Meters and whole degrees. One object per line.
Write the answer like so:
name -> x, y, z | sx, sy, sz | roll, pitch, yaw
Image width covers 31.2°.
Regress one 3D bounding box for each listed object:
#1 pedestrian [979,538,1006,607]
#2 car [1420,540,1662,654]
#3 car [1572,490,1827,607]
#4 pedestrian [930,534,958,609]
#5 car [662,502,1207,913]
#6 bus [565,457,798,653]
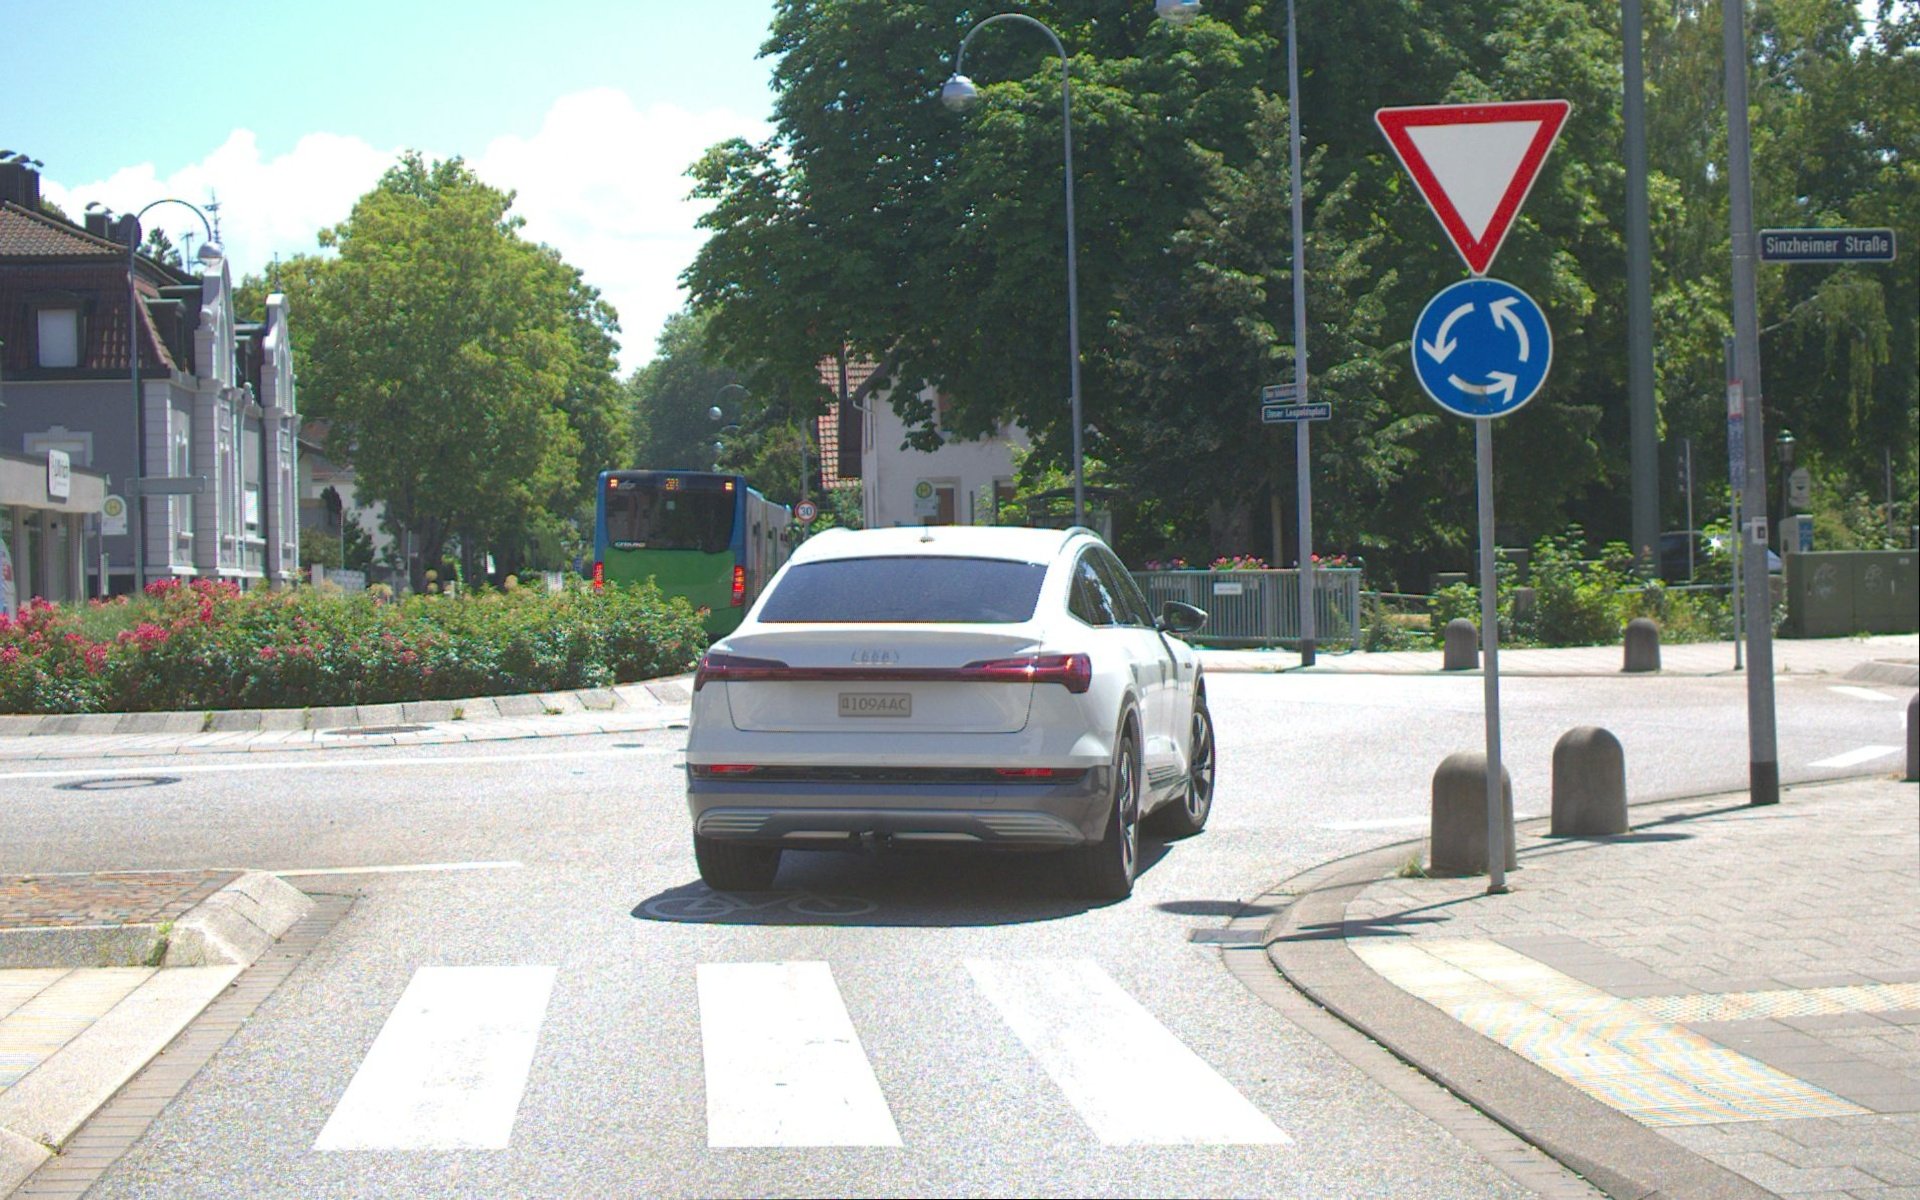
pedestrian -> 0.713, -0.613, 76.479 | 0.488, 1.517, 0.543 | -1, 1, -9
car -> 8.484, -0.056, 50.276 | 3.048, 1.547, 1.635 | -2, 1, -17
car -> 13.203, -0.912, 61.492 | 1.995, 2.007, 3.998 | -2, 1, -44
pedestrian -> -0.353, -0.626, 75.513 | 0.502, 1.644, 0.580 | -1, 1, -9
car -> 0.037, 0.376, 16.451 | 1.899, 1.656, 4.408 | 0, 2, 9
bus -> -4.976, -0.779, 65.146 | 3.706, 3.160, 18.071 | 1, 0, -3
